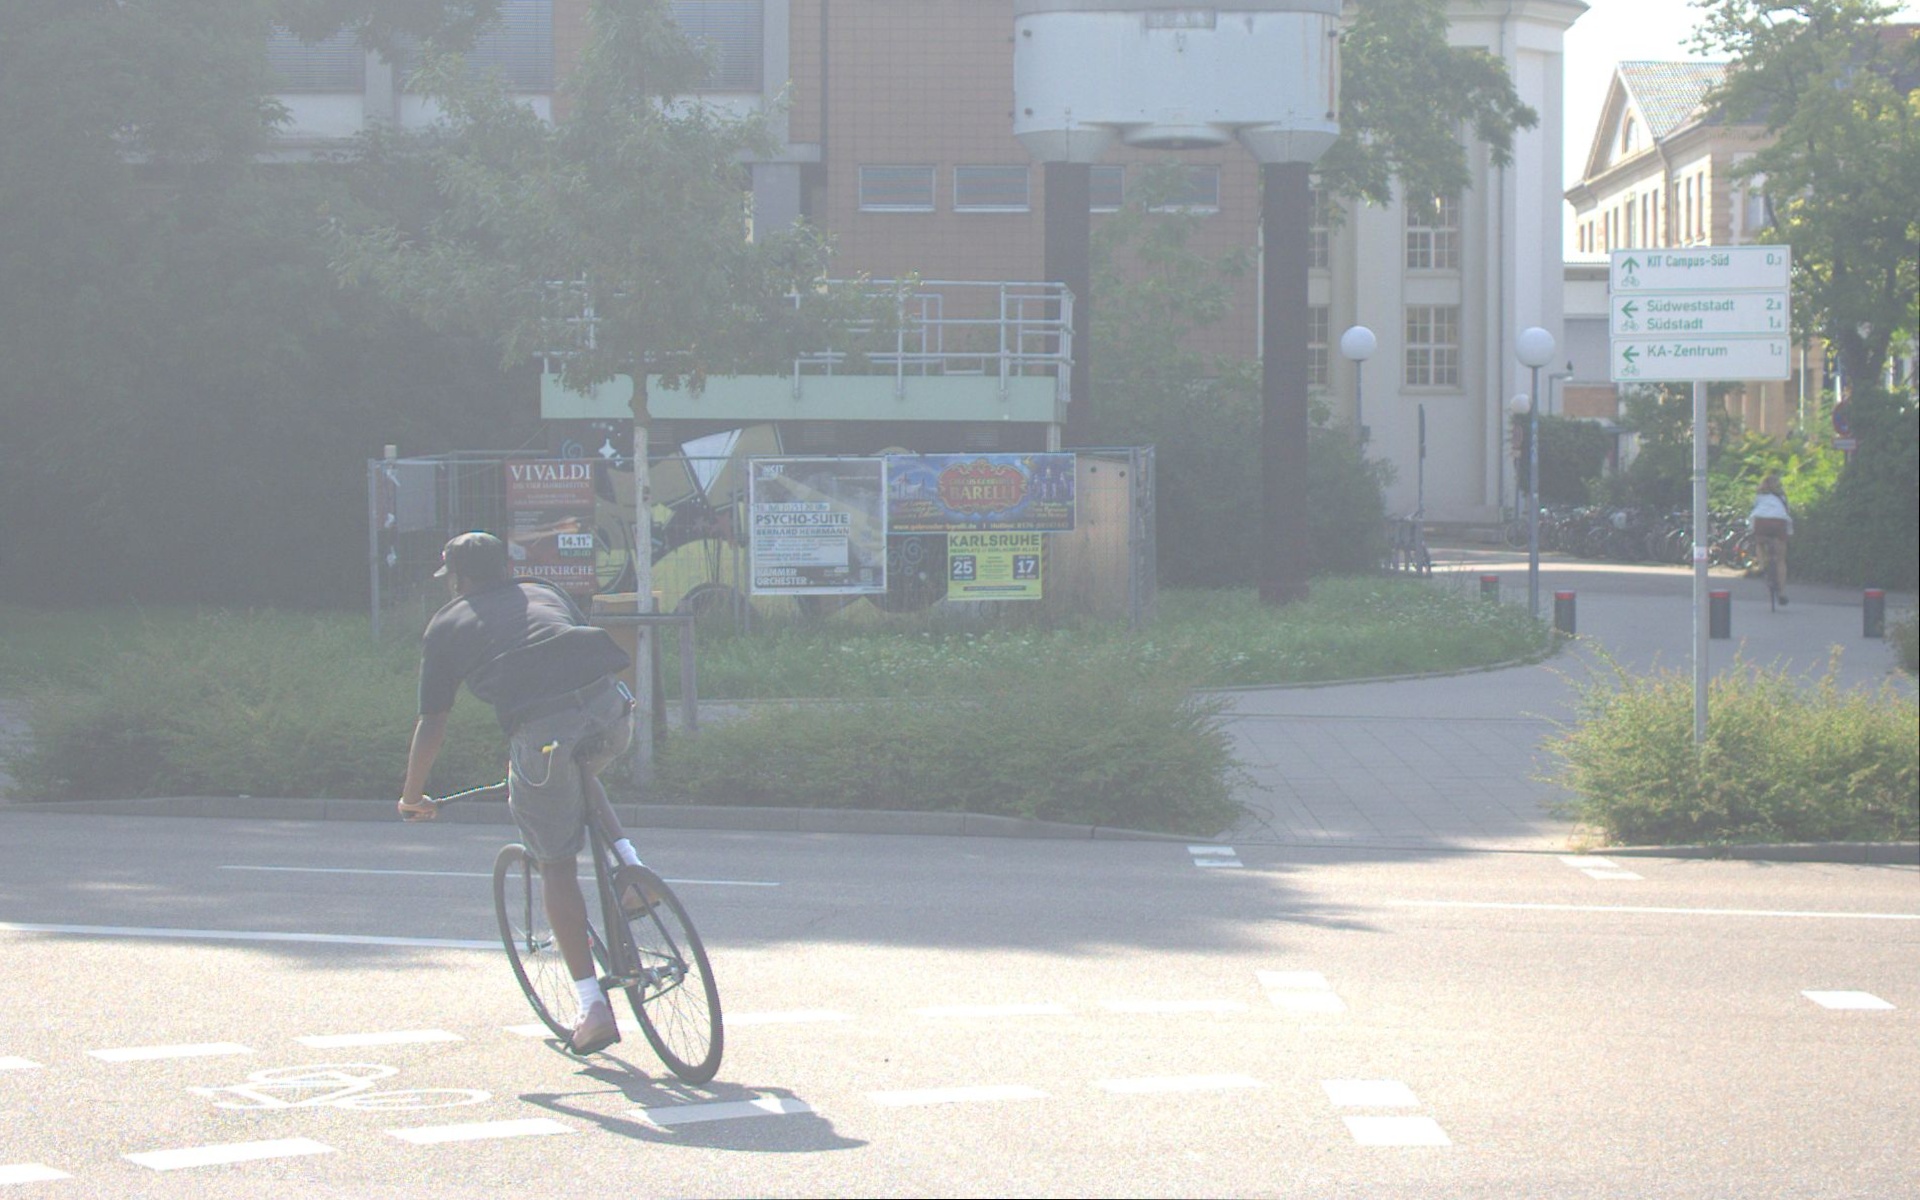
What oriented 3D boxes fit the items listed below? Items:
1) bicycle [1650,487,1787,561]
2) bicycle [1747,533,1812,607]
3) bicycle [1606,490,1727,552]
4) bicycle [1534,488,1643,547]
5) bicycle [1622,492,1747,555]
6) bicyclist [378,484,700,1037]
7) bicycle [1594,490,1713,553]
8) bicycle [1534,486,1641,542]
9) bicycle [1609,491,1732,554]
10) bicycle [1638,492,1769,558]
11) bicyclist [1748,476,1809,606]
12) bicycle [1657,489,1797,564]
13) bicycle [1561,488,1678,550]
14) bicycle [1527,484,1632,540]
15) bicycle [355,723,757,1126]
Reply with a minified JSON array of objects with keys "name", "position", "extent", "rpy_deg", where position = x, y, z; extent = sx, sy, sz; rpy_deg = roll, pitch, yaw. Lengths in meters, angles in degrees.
[{"name":"bicycle","position":[14.477,-1.449,65.654],"extent":[2.427,1.314,0.720],"rpy_deg":[2,2,6]},{"name":"bicycle","position":[10.121,-0.382,42.487],"extent":[0.673,0.876,1.400],"rpy_deg":[0,2,9]},{"name":"bicycle","position":[15.053,-1.682,73.291],"extent":[2.427,1.224,0.720],"rpy_deg":[2,2,6]},{"name":"bicycle","position":[14.748,-1.942,80.737],"extent":[2.427,1.277,0.720],"rpy_deg":[2,2,6]},{"name":"bicycle","position":[15.036,-1.593,71.356],"extent":[2.427,1.230,0.720],"rpy_deg":[2,2,6]},{"name":"bicyclist","position":[-1.286,0.449,10.372],"extent":[0.771,1.573,0.991],"rpy_deg":[-1,1,-19]},{"name":"bicycle","position":[15.097,-1.709,74.871],"extent":[2.427,1.277,0.720],"rpy_deg":[2,2,6]},{"name":"bicycle","position":[15.124,-2.084,82.881],"extent":[2.427,1.258,0.720],"rpy_deg":[2,2,6]},{"name":"bicycle","position":[14.928,-1.632,72.248],"extent":[2.427,1.235,0.720],"rpy_deg":[2,2,6]},{"name":"bicycle","position":[14.738,-1.488,68.183],"extent":[2.427,1.219,0.720],"rpy_deg":[2,2,6]},{"name":"bicyclist","position":[10.105,-0.738,42.475],"extent":[0.650,1.596,0.919],"rpy_deg":[0,2,9]},{"name":"bicycle","position":[14.384,-1.387,64.523],"extent":[2.427,1.314,0.720],"rpy_deg":[2,2,6]},{"name":"bicycle","position":[14.580,-1.804,76.028],"extent":[2.427,1.277,0.720],"rpy_deg":[2,2,6]},{"name":"bicycle","position":[15.111,-2.141,83.890],"extent":[2.427,1.276,0.720],"rpy_deg":[2,2,6]},{"name":"bicycle","position":[-1.271,0.913,10.377],"extent":[0.771,0.972,2.151],"rpy_deg":[-1,1,-19]}]
